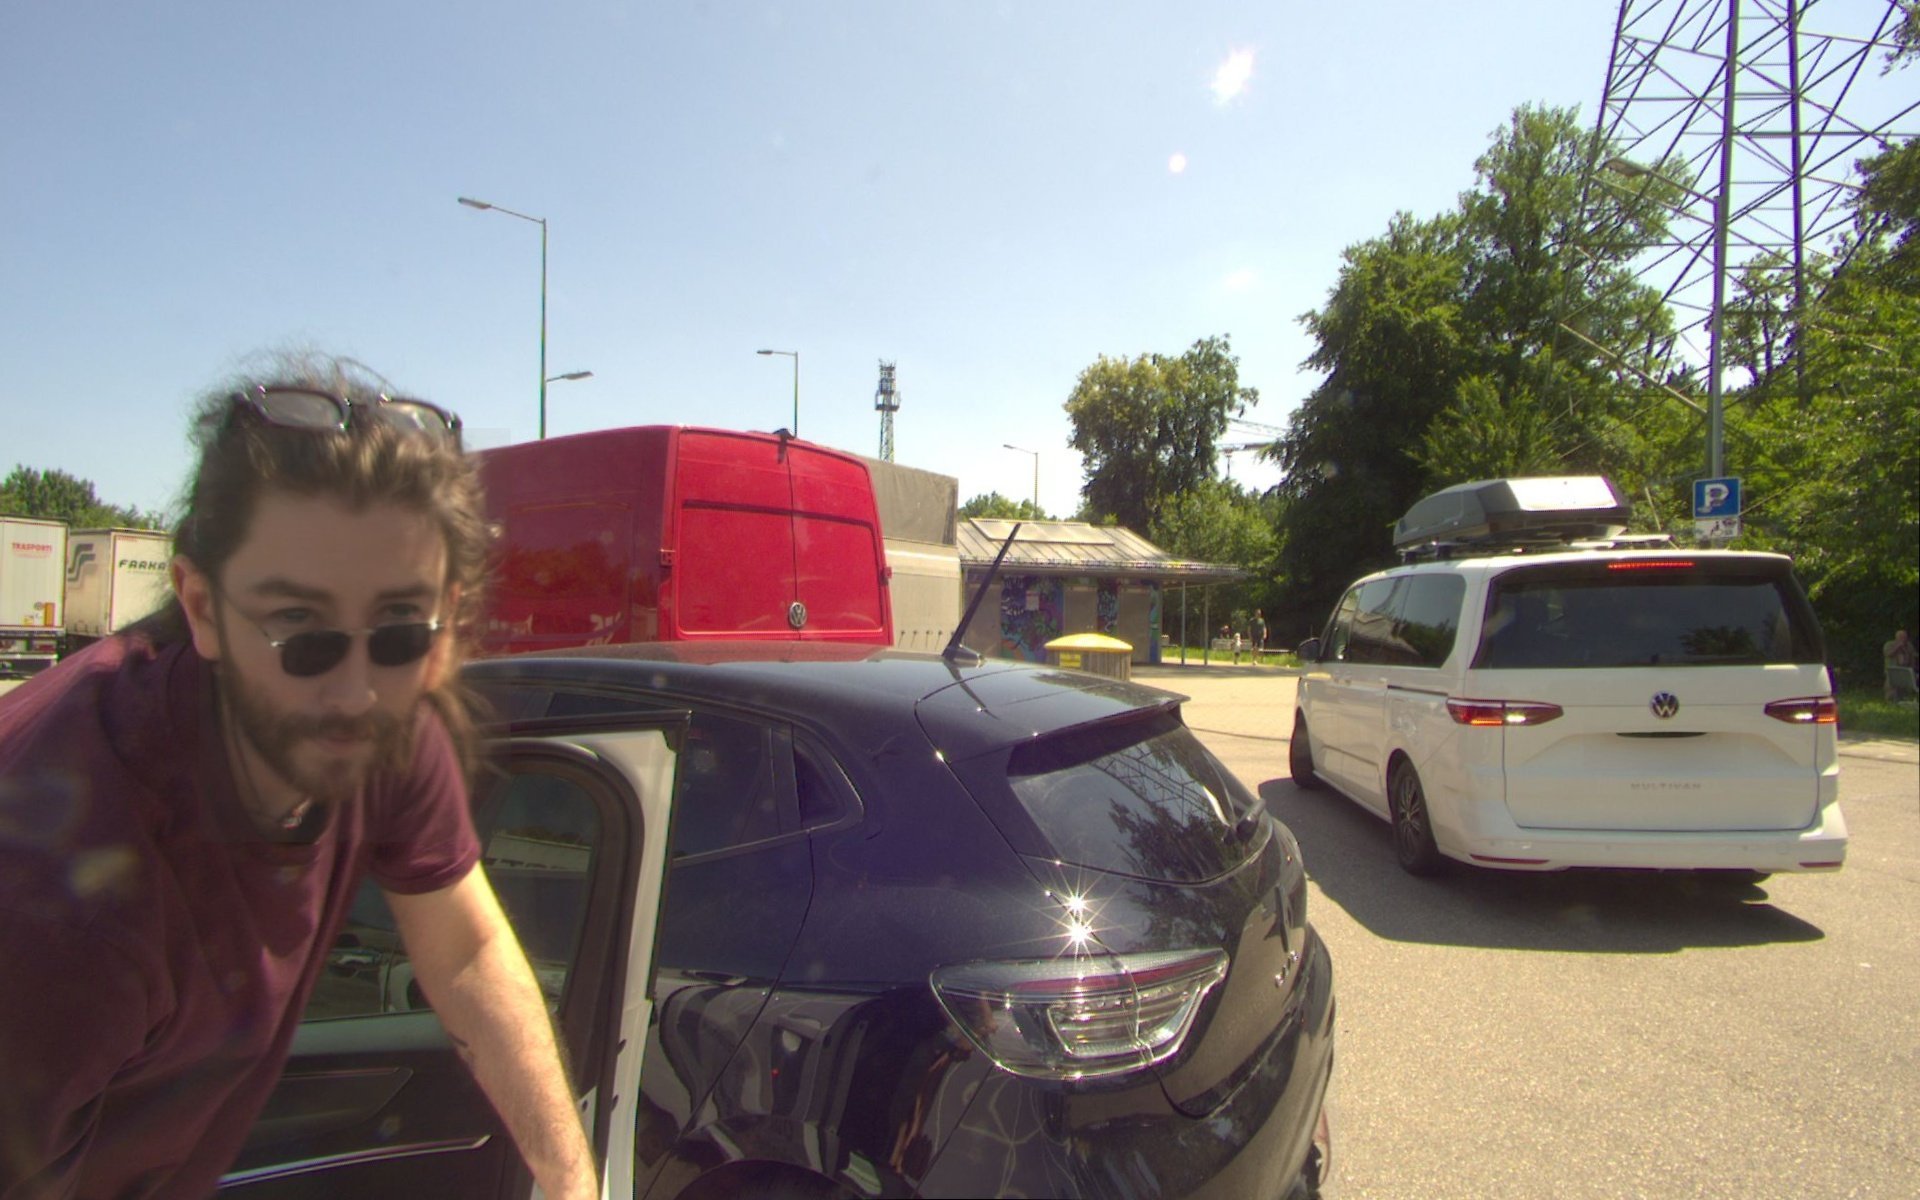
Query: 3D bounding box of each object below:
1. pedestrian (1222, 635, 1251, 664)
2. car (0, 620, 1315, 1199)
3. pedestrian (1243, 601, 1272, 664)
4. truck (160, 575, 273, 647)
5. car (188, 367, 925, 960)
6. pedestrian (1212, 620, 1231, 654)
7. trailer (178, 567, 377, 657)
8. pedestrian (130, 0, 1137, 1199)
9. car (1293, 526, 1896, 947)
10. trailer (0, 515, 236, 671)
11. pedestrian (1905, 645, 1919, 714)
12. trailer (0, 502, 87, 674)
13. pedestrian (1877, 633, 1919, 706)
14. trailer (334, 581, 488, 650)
[{"bbox_3d":[9.151,1.632,33.178,0.634,0.960,0.777,0,-2,-13],"label":"pedestrian"},{"bbox_3d":[-1.067,0.842,2.904,3.757,1.501,1.736,0,-1,27],"label":"car"},{"bbox_3d":[9.868,1.071,33.226,0.634,2.067,0.777,0,-1,-13],"label":"pedestrian"},{"bbox_3d":[-37.700,0.556,50.737,5.405,3.407,2.848,1,-2,34],"label":"truck"},{"bbox_3d":[-3.358,0.316,7.356,6.310,2.731,2.060,0,-1,37],"label":"car"},{"bbox_3d":[12.105,1.730,46.425,0.635,1.547,0.564,0,-1,-22],"label":"pedestrian"},{"bbox_3d":[-32.391,0.476,47.138,13.530,3.764,2.834,1,-2,34],"label":"trailer"},{"bbox_3d":[-0.344,0.603,1.061,0.878,1.865,0.618,-1,-1,35],"label":"pedestrian"},{"bbox_3d":[3.718,0.687,7.011,1.875,1.937,4.564,0,-1,9],"label":"car"},{"bbox_3d":[-27.664,-0.201,31.627,13.523,4.185,2.835,1,-2,33],"label":"trailer"},{"bbox_3d":[17.184,1.391,17.475,0.876,1.192,0.666,-1,-2,32],"label":"pedestrian"},{"bbox_3d":[-28.973,-0.383,28.147,13.523,4.185,2.835,1,-2,33],"label":"trailer"},{"bbox_3d":[18.765,1.365,19.922,0.660,1.422,0.647,-1,-1,33],"label":"pedestrian"},{"bbox_3d":[-36.055,0.912,65.430,13.530,4.101,2.834,1,-2,34],"label":"trailer"}]
